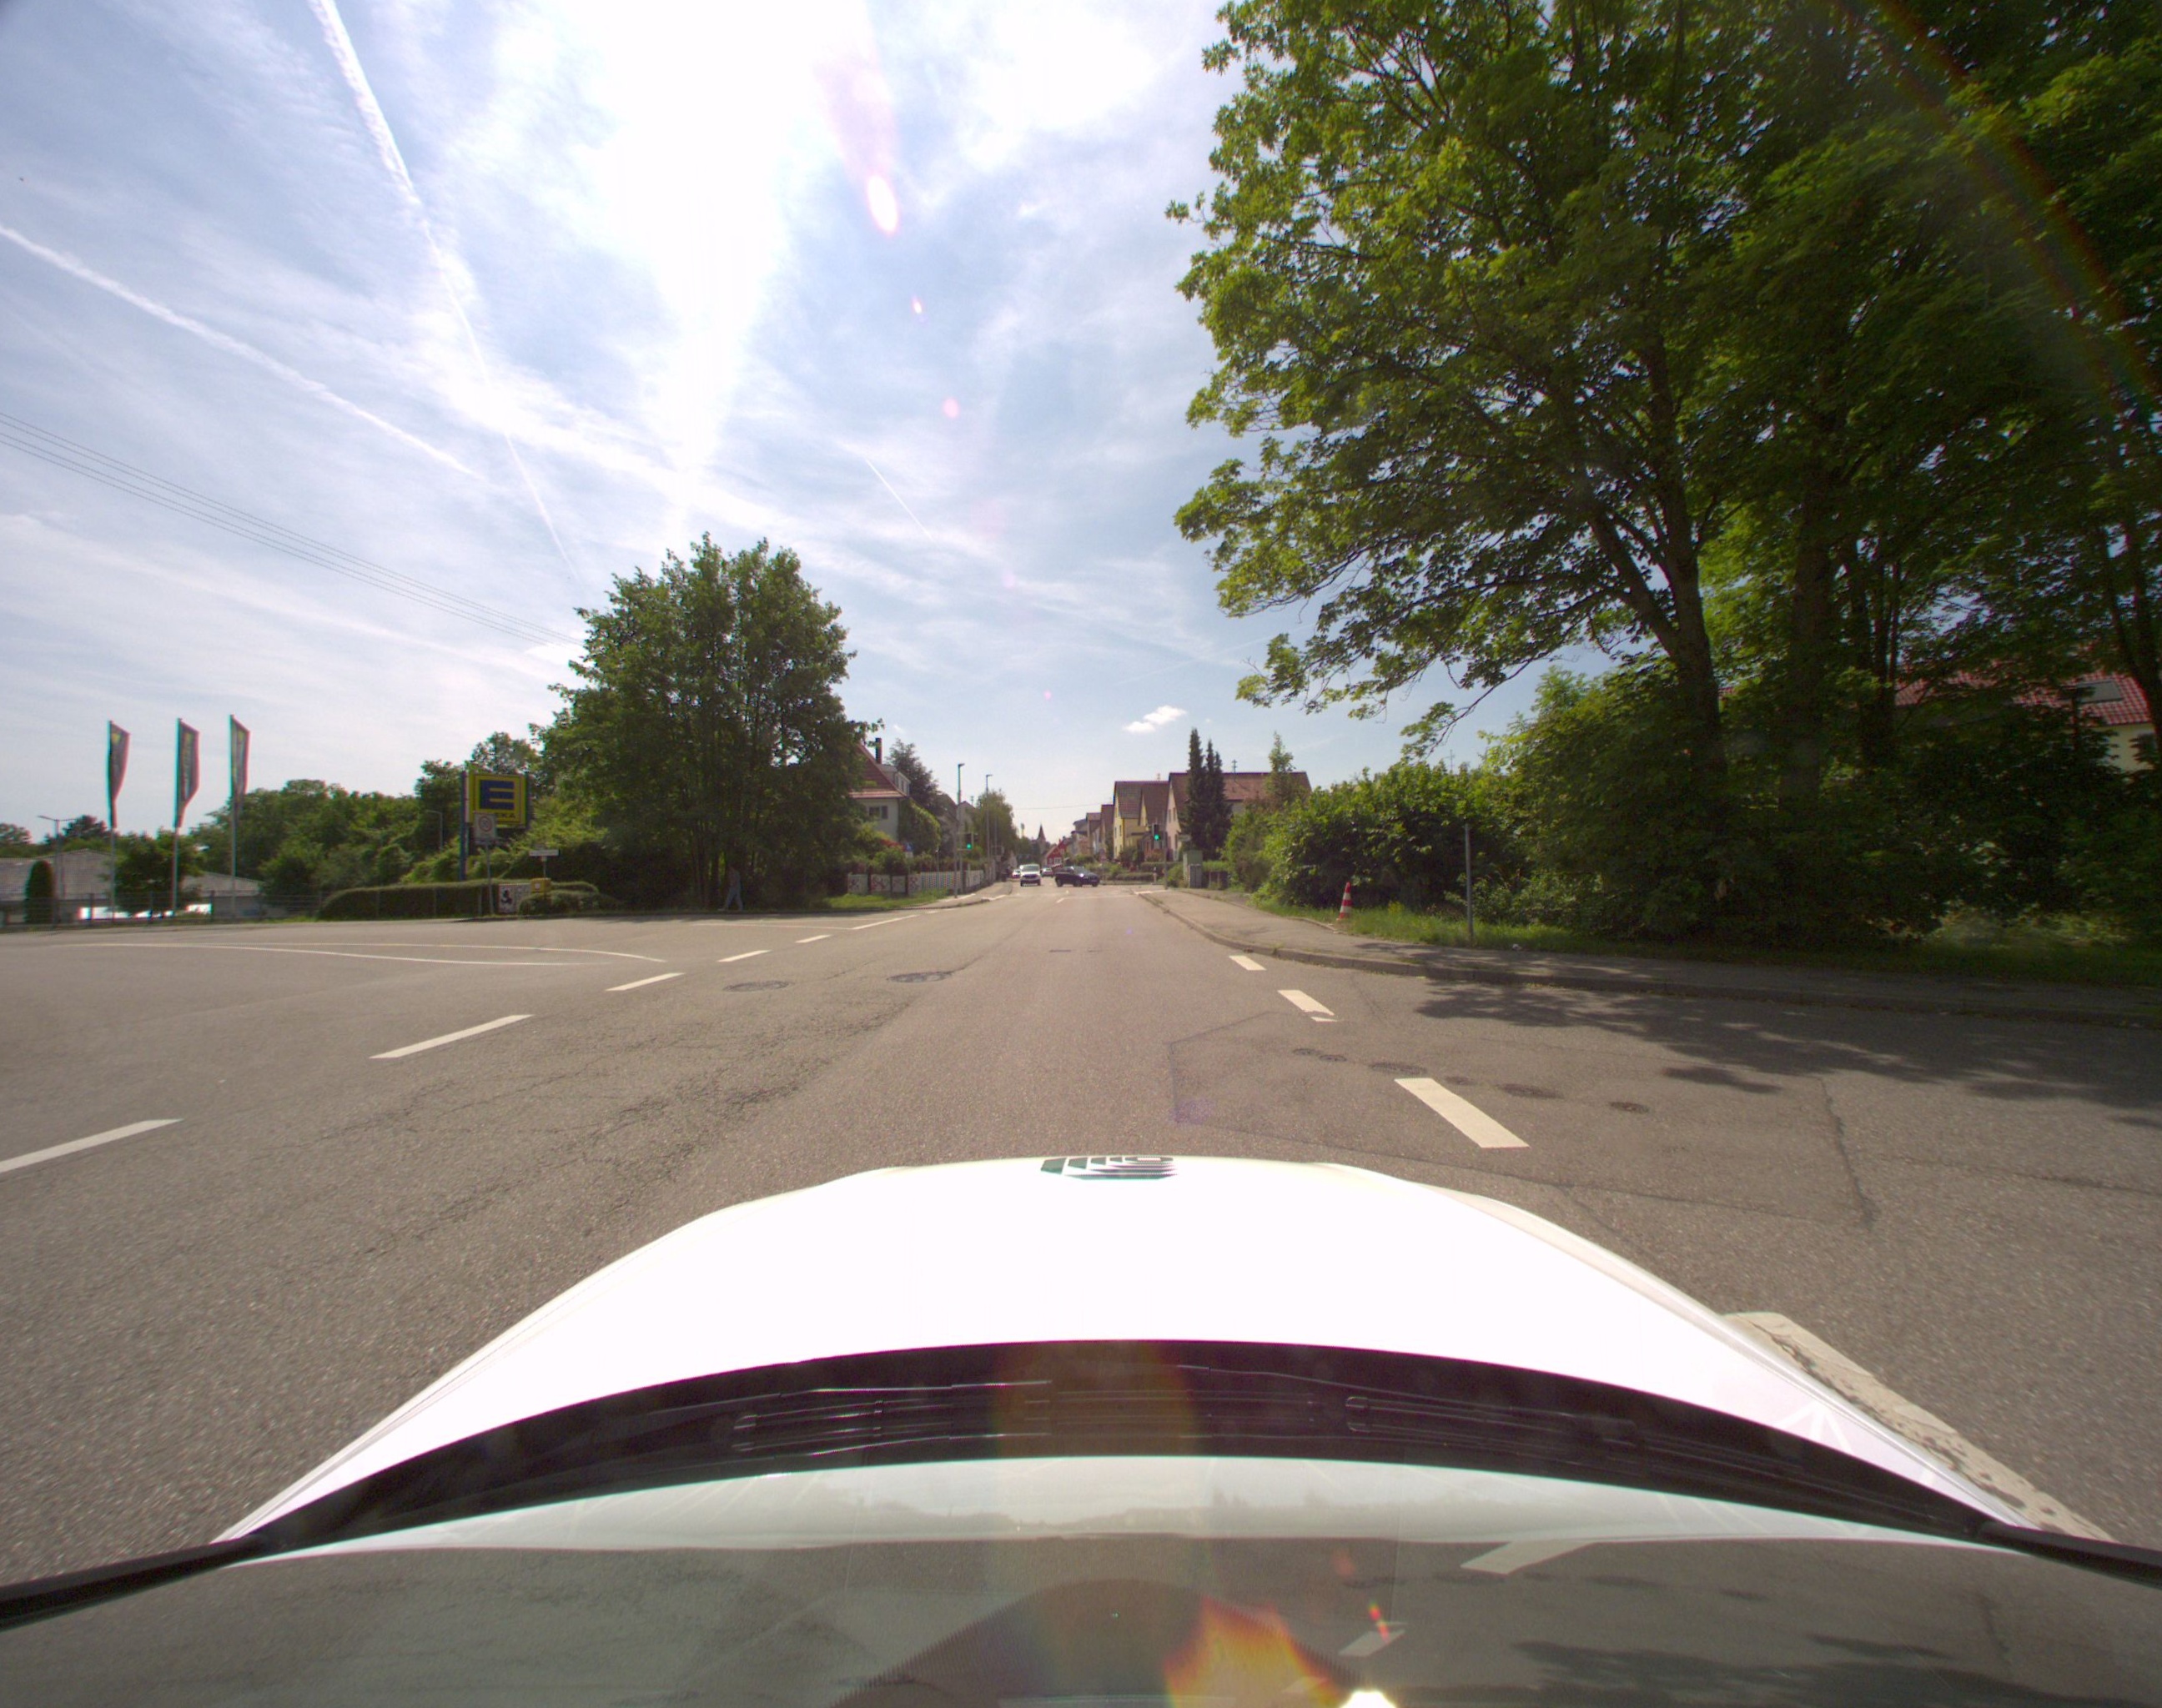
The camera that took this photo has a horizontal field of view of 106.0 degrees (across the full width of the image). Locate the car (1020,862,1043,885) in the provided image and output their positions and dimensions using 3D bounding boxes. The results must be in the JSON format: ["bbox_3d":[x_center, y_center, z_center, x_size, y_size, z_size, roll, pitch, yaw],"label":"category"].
[{"bbox_3d":[-4.661,1.862,75.693,1.876,1.965,4.893,-3,-1,-5],"label":"car"}]

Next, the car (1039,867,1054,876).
[{"bbox_3d":[-5.809,2.920,136.849,1.992,1.560,4.301,-2,-1,-8],"label":"car"}]

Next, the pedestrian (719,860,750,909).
[{"bbox_3d":[-12.924,1.134,30.417,0.729,1.777,0.693,-4,-2,19],"label":"pedestrian"}]

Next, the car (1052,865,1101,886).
[{"bbox_3d":[-0.380,1.706,64.299,1.547,1.541,4.255,-2,0,-39],"label":"car"}]

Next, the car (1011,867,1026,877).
[{"bbox_3d":[-10.477,2.984,136.652,2.104,1.560,4.312,-2,-1,0],"label":"car"}]
